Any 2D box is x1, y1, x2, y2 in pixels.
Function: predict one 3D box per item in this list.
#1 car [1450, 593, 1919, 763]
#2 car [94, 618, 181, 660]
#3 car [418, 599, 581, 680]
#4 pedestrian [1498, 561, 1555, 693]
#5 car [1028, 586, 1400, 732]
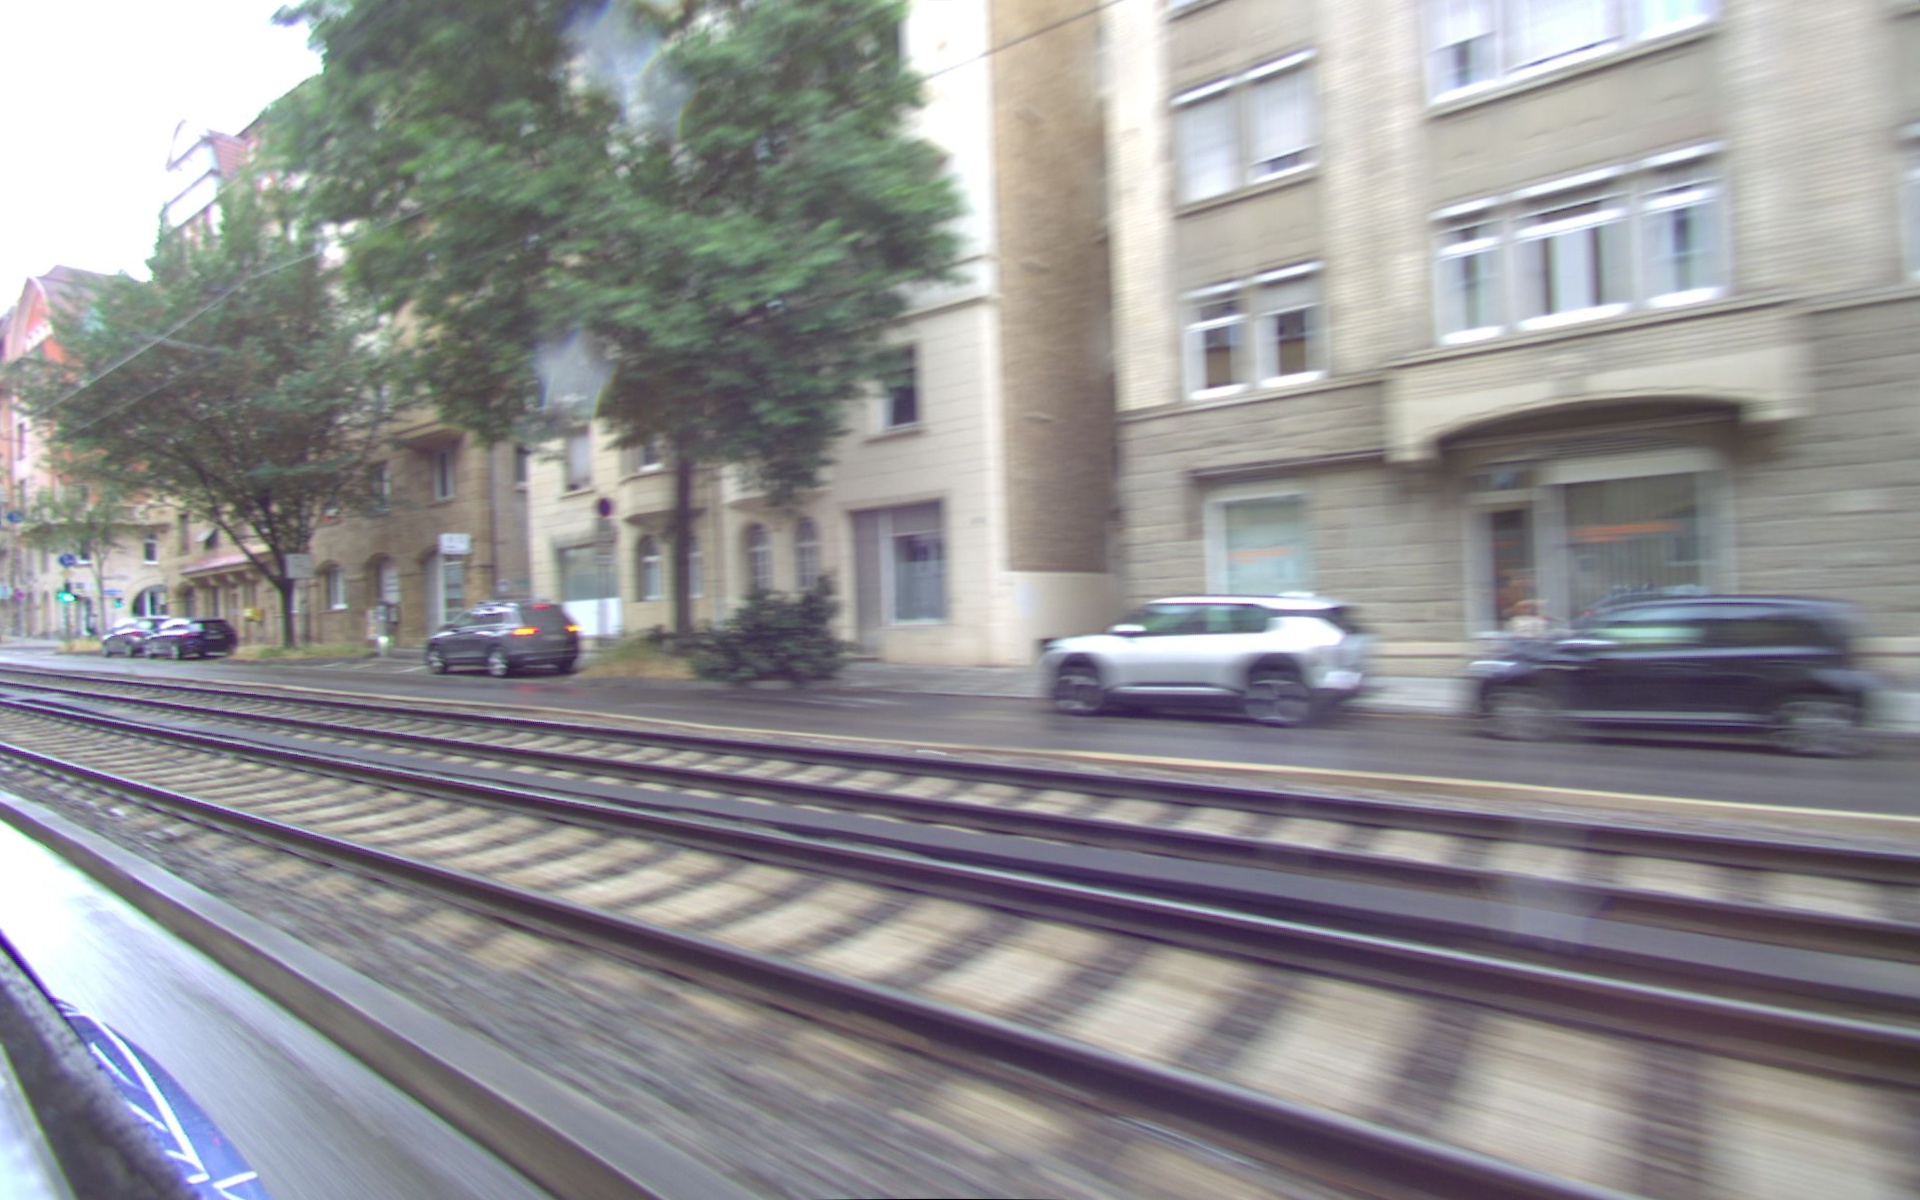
[{"bbox_3d":[7.078,0.681,10.144,3.627,1.414,1.629,-1,-1,38],"label":"car"},{"bbox_3d":[-31.993,1.499,39.348,4.157,1.501,1.630,-1,-1,36],"label":"car"},{"bbox_3d":[-10.654,0.872,23.328,4.090,1.719,1.630,-1,-1,36],"label":"car"},{"bbox_3d":[7.378,0.342,13.177,0.541,1.666,0.543,-1,-1,37],"label":"pedestrian"},{"bbox_3d":[3.134,0.680,13.000,4.333,1.593,1.629,-1,-1,38],"label":"car"}]
